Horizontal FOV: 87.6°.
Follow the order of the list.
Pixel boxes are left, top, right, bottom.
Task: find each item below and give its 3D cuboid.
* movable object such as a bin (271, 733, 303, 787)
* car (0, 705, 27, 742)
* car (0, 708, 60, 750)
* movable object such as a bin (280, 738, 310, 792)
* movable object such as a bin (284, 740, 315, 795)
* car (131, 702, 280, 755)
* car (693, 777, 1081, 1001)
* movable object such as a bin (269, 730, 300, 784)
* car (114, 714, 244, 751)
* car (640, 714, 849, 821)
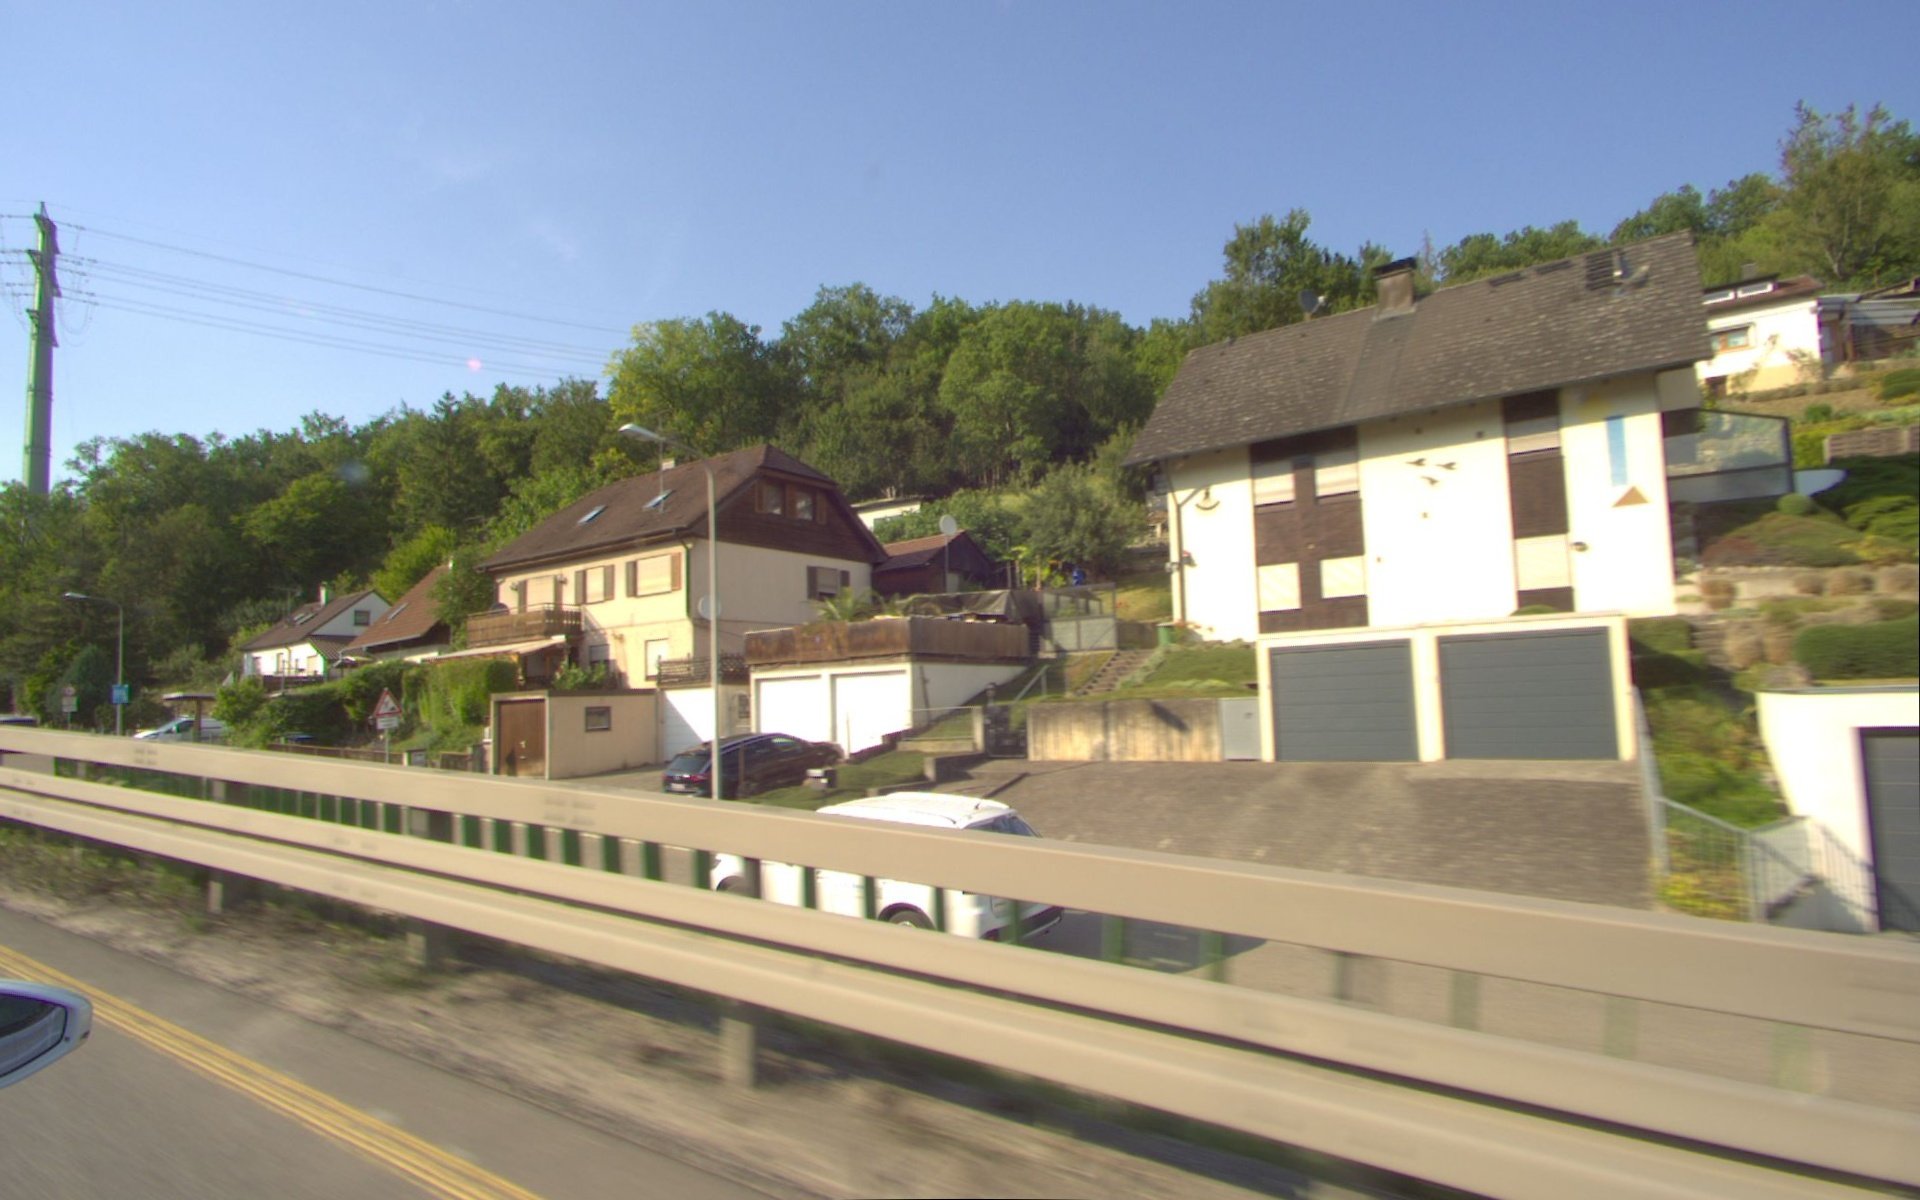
[{"bbox_3d":[-23.403,5.567,34.839,0.404,1.786,0.535,-4,-14,40],"label":"movable object such as a bin"},{"bbox_3d":[-56.418,7.208,58.537,4.989,2.010,1.857,-4,-4,36],"label":"car"},{"bbox_3d":[-48.844,6.696,52.275,4.807,1.940,1.988,-4,-4,39],"label":"car"},{"bbox_3d":[-22.761,5.644,34.286,0.409,1.786,0.489,-4,-14,40],"label":"movable object such as a bin"},{"bbox_3d":[-22.424,5.673,33.995,0.409,1.786,0.489,-4,-14,40],"label":"movable object such as a bin"},{"bbox_3d":[-37.074,6.263,49.368,1.974,2.290,5.455,-3,-5,35],"label":"car"},{"bbox_3d":[-0.969,3.082,11.464,4.415,1.682,1.663,-4,-4,37],"label":"car"},{"bbox_3d":[-23.713,5.509,35.137,0.411,1.786,0.529,-4,-14,40],"label":"movable object such as a bin"},{"bbox_3d":[-40.550,6.851,52.134,1.693,1.575,5.079,-3,-5,35],"label":"car"},{"bbox_3d":[-4.854,3.739,23.153,1.975,1.545,4.475,-4,1,36],"label":"car"}]
